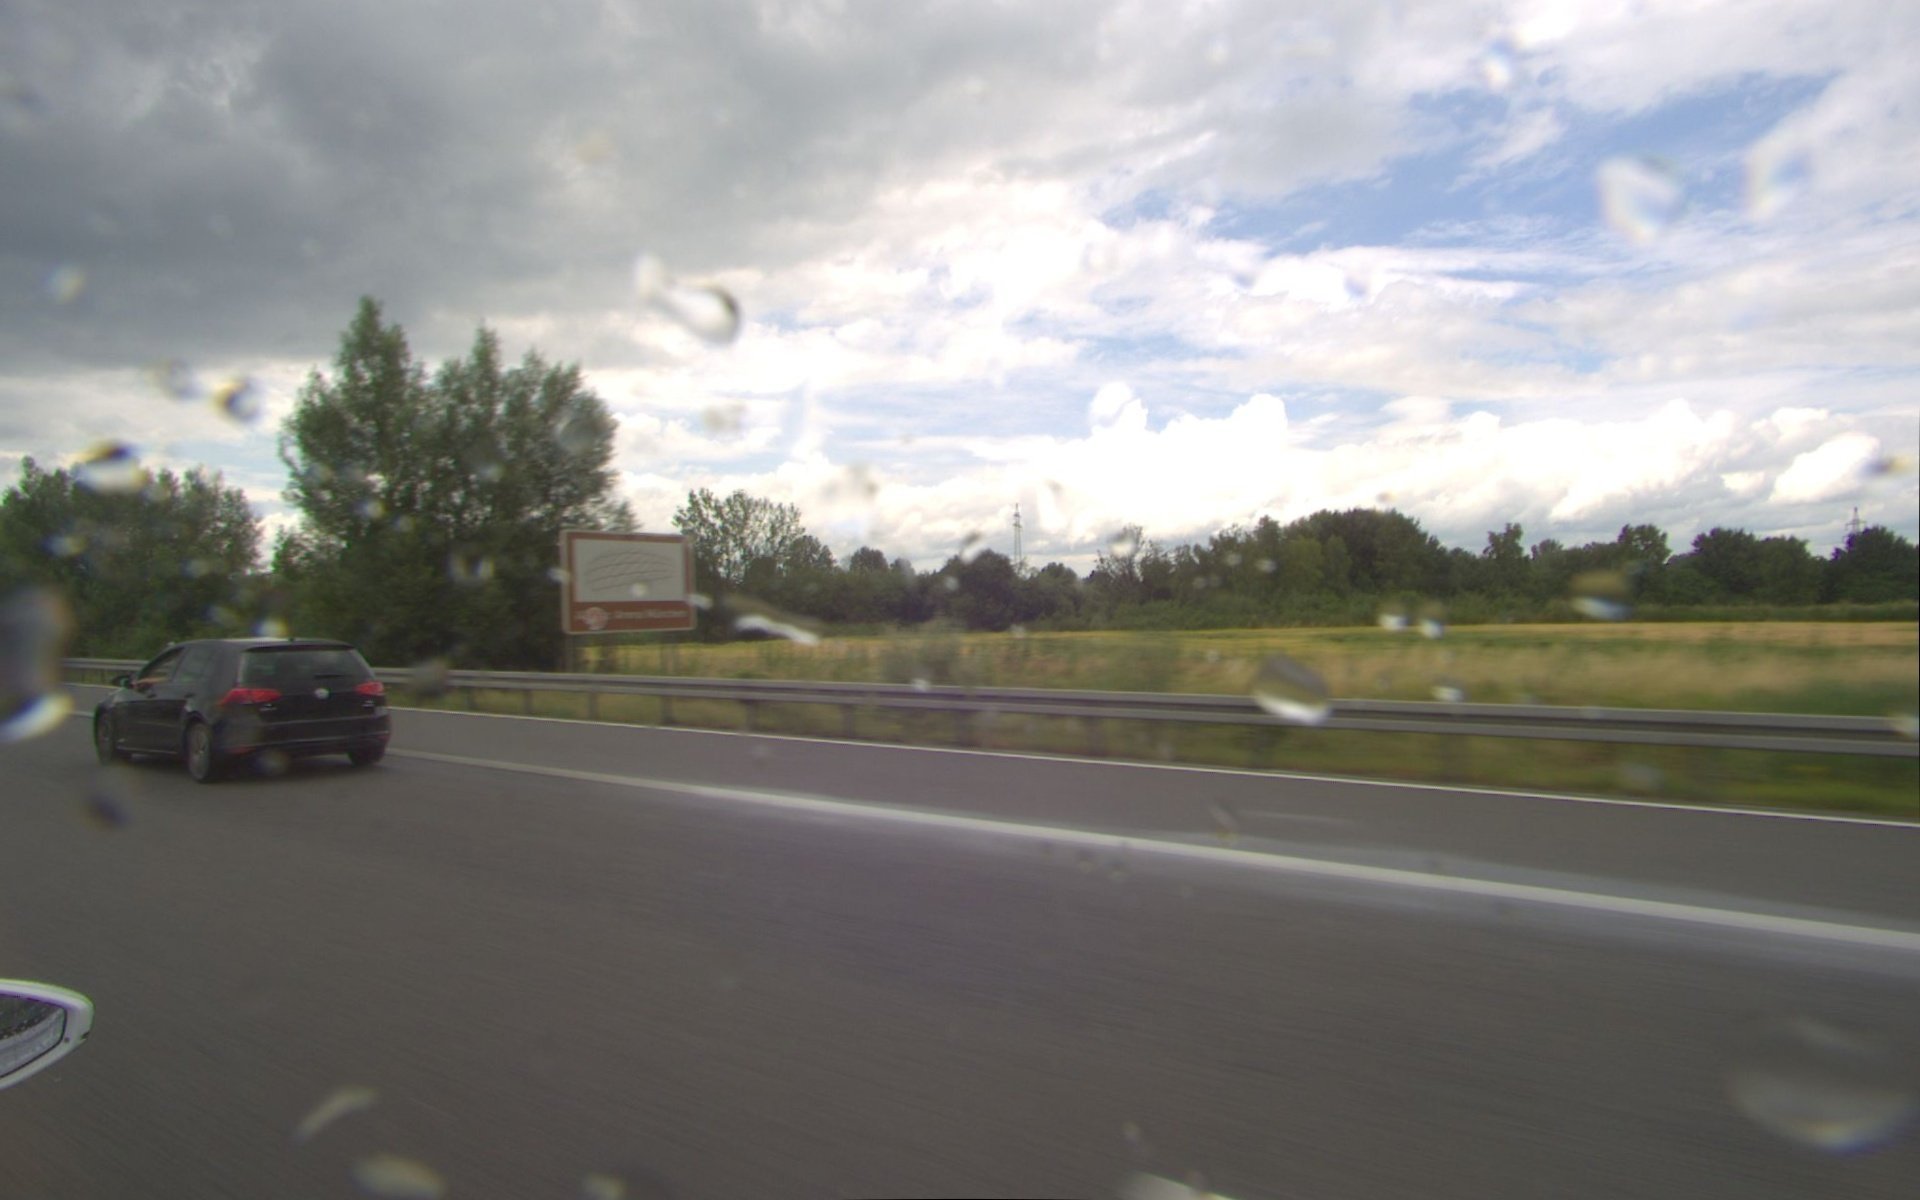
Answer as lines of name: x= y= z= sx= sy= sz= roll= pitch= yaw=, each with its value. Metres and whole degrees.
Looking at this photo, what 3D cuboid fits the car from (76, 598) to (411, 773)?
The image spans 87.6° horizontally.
car: x=-8.267 y=0.872 z=11.431 sx=4.396 sy=1.652 sz=1.703 roll=-1 pitch=-1 yaw=34
